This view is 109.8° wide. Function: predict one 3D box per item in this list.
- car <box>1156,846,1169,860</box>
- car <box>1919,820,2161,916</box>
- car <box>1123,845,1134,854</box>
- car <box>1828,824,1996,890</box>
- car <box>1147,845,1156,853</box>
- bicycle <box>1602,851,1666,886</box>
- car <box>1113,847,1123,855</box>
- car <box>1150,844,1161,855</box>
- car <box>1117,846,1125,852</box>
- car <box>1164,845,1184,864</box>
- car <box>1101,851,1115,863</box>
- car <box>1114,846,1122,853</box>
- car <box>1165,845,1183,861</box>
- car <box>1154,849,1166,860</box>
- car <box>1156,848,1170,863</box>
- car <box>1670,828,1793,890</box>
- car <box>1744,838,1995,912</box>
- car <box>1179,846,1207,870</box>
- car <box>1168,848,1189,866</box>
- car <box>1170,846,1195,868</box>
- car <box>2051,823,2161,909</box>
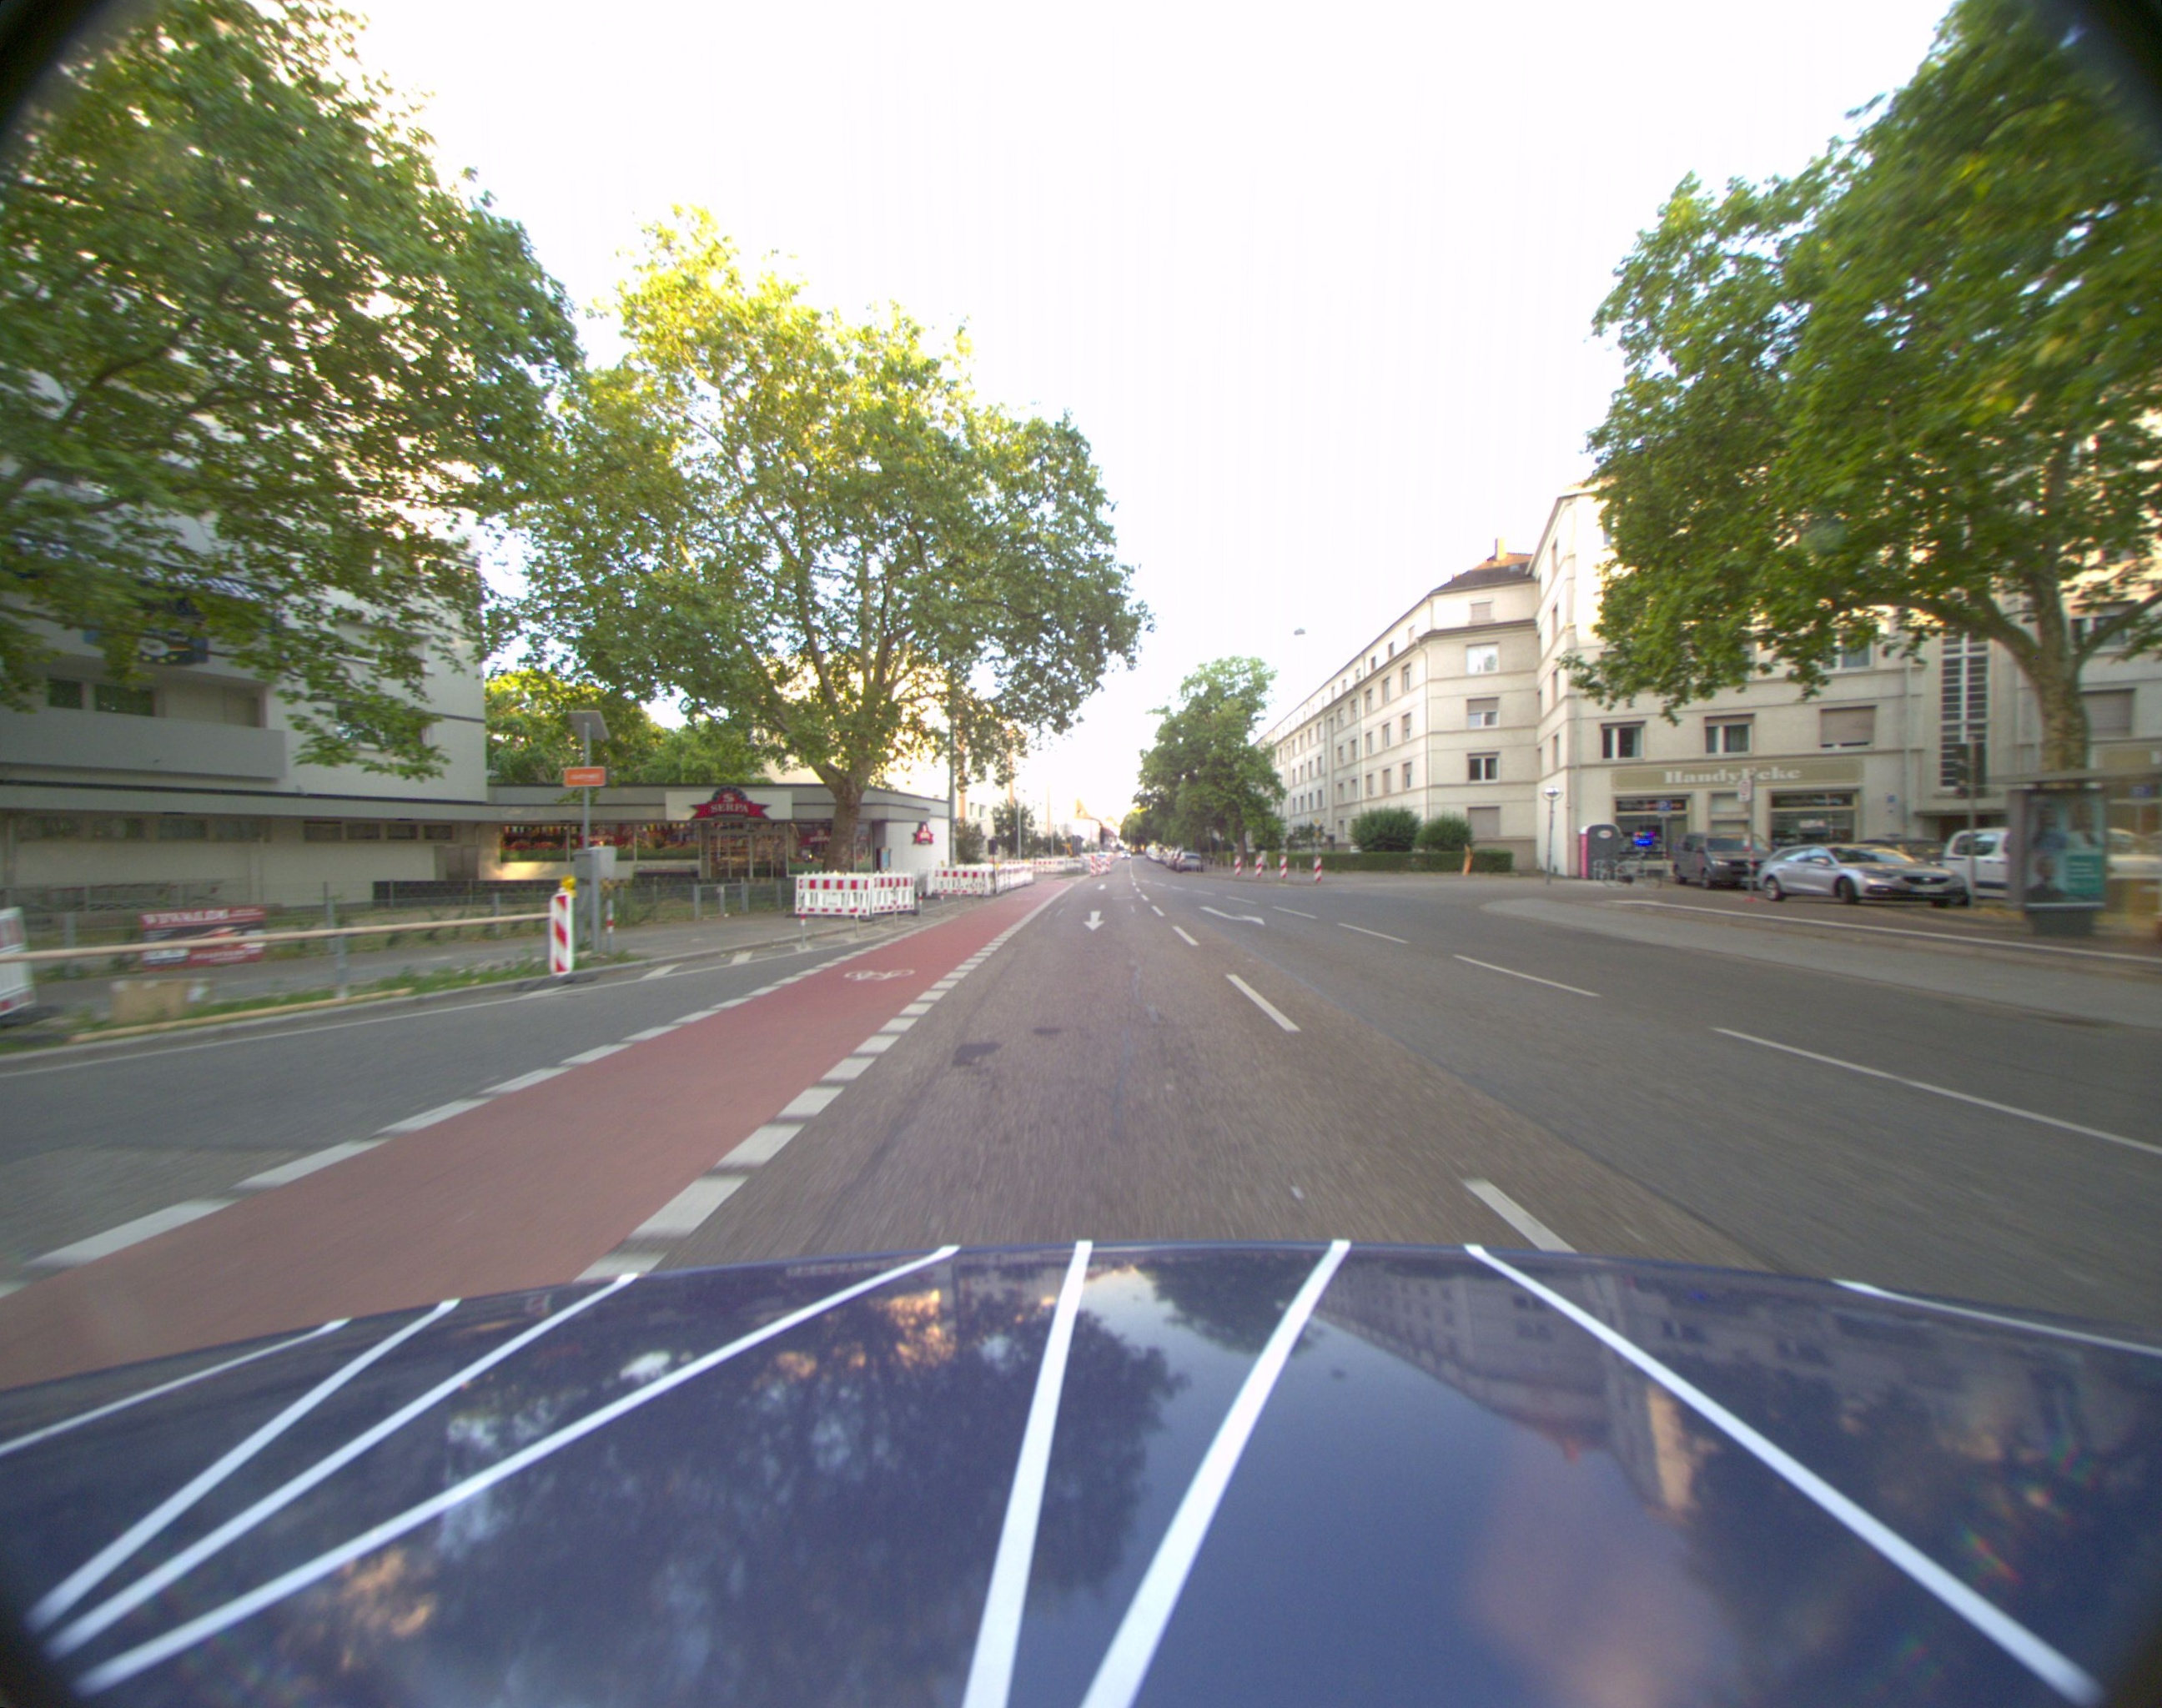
[{"bbox_3d":[11.969,-0.124,111.512,1.892,1.855,4.260,-2,1,6],"label":"car"},{"bbox_3d":[20.817,0.288,16.275,1.995,1.771,4.648,1,0,21],"label":"car"},{"bbox_3d":[10.068,-0.945,159.991,1.997,1.838,4.002,-2,1,9],"label":"car"},{"bbox_3d":[27.249,0.007,25.177,1.995,1.945,4.646,1,3,24],"label":"car"},{"bbox_3d":[15.818,-1.162,169.372,1.892,1.591,4.260,-2,1,6],"label":"car"},{"bbox_3d":[19.535,0.511,26.902,1.802,1.199,0.648,-1,2,33],"label":"bicycle"},{"bbox_3d":[7.742,-0.624,159.539,1.892,1.591,4.260,-2,1,6],"label":"car"},{"bbox_3d":[14.303,-0.840,145.768,1.892,1.868,4.946,-2,1,6],"label":"car"},{"bbox_3d":[11.074,-1.343,209.007,1.892,1.591,4.260,-2,1,6],"label":"car"},{"bbox_3d":[9.590,0.038,78.729,1.892,1.764,4.260,-2,1,6],"label":"car"},{"bbox_3d":[4.130,0.424,116.661,1.892,1.726,4.260,-2,1,6],"label":"car"},{"bbox_3d":[9.175,-1.170,188.149,1.892,1.591,4.260,-2,1,6],"label":"car"},{"bbox_3d":[10.310,-0.110,84.262,1.892,1.591,4.260,-2,1,6],"label":"car"},{"bbox_3d":[12.571,0.001,121.182,1.892,1.591,4.260,-2,1,6],"label":"car"},{"bbox_3d":[11.338,0.179,105.037,1.892,1.815,4.260,-2,1,6],"label":"car"},{"bbox_3d":[22.748,0.079,26.831,1.995,1.945,4.646,1,3,24],"label":"car"},{"bbox_3d":[18.236,0.444,17.966,1.996,1.494,4.647,1,0,15],"label":"car"},{"bbox_3d":[8.457,0.270,57.501,1.892,1.591,4.001,-2,1,6],"label":"car"},{"bbox_3d":[9.297,0.274,72.785,1.892,1.591,4.260,-2,1,6],"label":"car"},{"bbox_3d":[8.723,0.209,65.463,1.892,1.681,4.260,-2,1,6],"label":"car"},{"bbox_3d":[23.284,0.261,15.636,1.995,1.771,4.648,1,0,21],"label":"car"}]
